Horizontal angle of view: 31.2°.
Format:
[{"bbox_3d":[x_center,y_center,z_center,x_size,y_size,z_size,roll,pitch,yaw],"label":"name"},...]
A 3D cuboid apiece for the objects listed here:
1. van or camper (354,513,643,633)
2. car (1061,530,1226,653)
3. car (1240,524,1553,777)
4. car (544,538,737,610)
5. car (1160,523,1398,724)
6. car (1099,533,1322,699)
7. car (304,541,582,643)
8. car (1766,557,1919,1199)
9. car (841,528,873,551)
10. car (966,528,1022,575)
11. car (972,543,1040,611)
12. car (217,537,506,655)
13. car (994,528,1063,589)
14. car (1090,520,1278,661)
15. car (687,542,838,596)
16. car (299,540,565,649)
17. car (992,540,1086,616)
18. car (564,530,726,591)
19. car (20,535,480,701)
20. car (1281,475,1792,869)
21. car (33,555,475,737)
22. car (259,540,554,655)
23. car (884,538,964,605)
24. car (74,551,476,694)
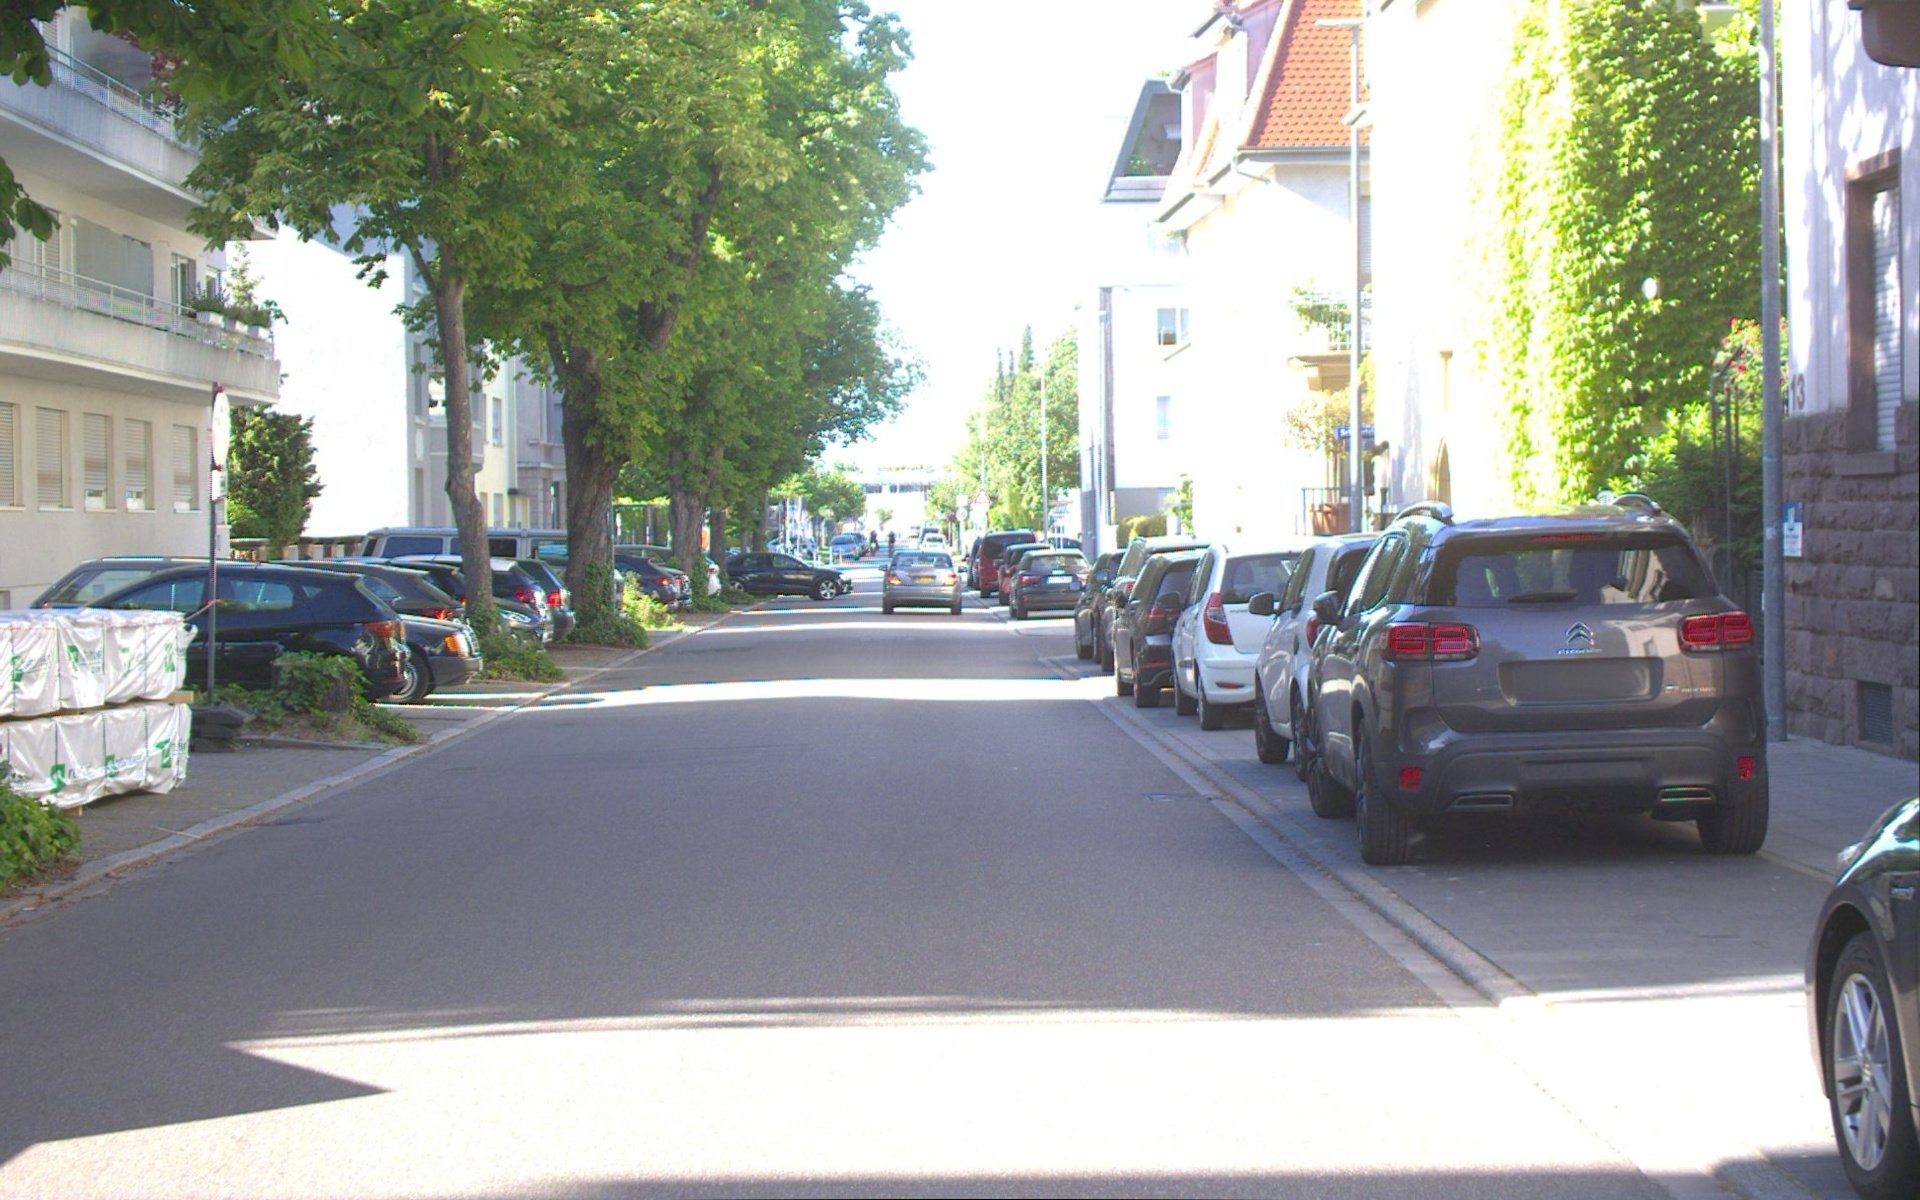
[{"bbox_3d":[-7.566,-0.457,56.625,4.497,1.908,1.964,0,1,-1],"label":"van or camper"},{"bbox_3d":[2.392,-0.112,45.708,1.662,1.515,4.002,-2,0,-4],"label":"car"},{"bbox_3d":[2.799,0.307,22.544,1.625,1.544,2.869,0,0,-1],"label":"car"},{"bbox_3d":[-6.814,-0.564,73.681,3.987,1.463,1.697,-1,1,-1],"label":"car"},{"bbox_3d":[2.641,0.183,29.105,1.575,1.544,3.469,-2,0,-1],"label":"car"},{"bbox_3d":[2.370,0.145,33.420,1.709,1.431,4.193,-3,0,-1],"label":"car"},{"bbox_3d":[-7.656,-0.127,51.196,3.921,1.410,1.716,1,2,-3],"label":"car"},{"bbox_3d":[2.823,0.661,6.214,1.643,1.449,4.503,0,1,0],"label":"car"},{"bbox_3d":[-6.996,-4.088,233.162,1.786,1.527,4.001,-1,1,-7],"label":"car"},{"bbox_3d":[1.124,-1.643,115.627,1.737,1.526,4.179,-1,1,-1],"label":"car"},{"bbox_3d":[1.324,-0.675,100.633,1.871,1.898,5.197,-2,0,0],"label":"car"},{"bbox_3d":[-7.577,-0.051,43.776,3.477,1.416,1.710,1,0,-6],"label":"car"},{"bbox_3d":[1.741,-1.077,88.239,1.592,1.475,3.247,-3,1,-1],"label":"car"},{"bbox_3d":[2.570,-0.110,40.330,1.791,1.515,4.367,-2,0,-1],"label":"car"},{"bbox_3d":[-5.653,-0.881,98.723,4.189,1.443,1.712,1,0,1],"label":"car"},{"bbox_3d":[-7.456,-0.091,48.790,3.478,1.453,1.797,1,1,0],"label":"car"},{"bbox_3d":[1.611,-0.483,71.488,1.619,1.435,3.935,-3,1,-2],"label":"car"},{"bbox_3d":[-8.096,-1.027,88.588,4.022,1.479,1.807,1,1,-1],"label":"car"},{"bbox_3d":[-7.403,0.163,36.137,4.588,1.601,1.833,-1,1,-9],"label":"car"},{"bbox_3d":[2.734,0.313,17.259,1.778,1.690,4.320,1,0,0],"label":"car"},{"bbox_3d":[-6.508,0.393,31.955,3.869,1.509,1.833,-2,1,-9],"label":"car"},{"bbox_3d":[-7.418,-0.046,46.284,3.644,1.458,1.710,1,1,1],"label":"car"},{"bbox_3d":[-0.784,-0.657,77.076,1.726,1.415,3.960,1,1,0],"label":"car"},{"bbox_3d":[-7.683,0.233,38.833,4.187,1.436,1.713,-2,1,-2],"label":"car"}]
